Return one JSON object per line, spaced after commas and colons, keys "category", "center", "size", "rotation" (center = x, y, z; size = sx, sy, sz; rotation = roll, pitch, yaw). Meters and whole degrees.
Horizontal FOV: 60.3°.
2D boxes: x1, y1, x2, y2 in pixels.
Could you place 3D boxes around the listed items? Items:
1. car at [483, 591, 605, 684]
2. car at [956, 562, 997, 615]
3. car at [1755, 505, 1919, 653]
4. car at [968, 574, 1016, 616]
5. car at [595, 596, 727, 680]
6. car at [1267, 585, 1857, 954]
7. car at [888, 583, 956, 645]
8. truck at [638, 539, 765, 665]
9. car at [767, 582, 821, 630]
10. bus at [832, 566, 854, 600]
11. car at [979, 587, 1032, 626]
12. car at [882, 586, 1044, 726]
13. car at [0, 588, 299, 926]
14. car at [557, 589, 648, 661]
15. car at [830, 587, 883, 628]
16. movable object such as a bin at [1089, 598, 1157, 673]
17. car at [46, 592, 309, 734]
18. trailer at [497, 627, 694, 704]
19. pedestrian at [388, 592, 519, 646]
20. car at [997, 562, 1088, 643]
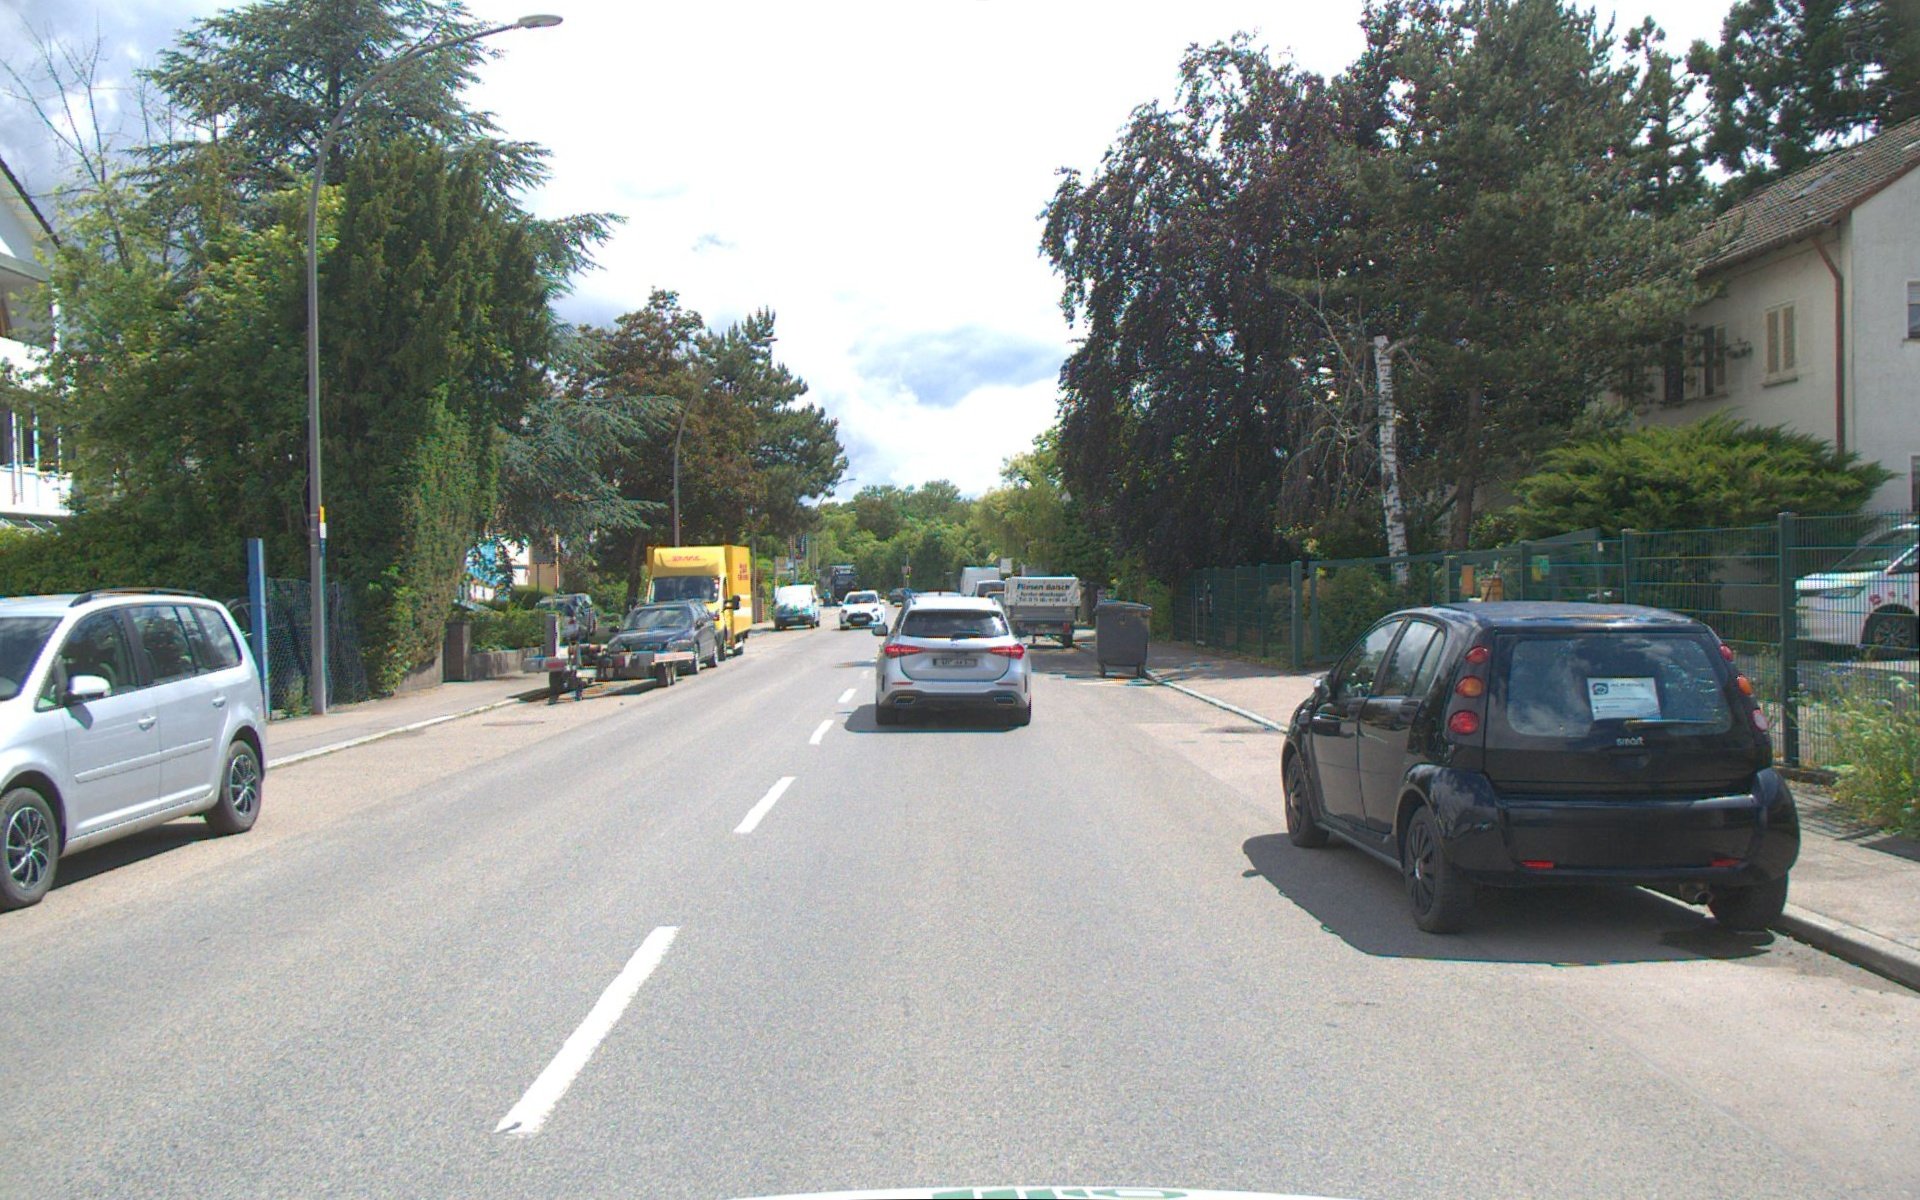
{"category": "car", "center": [-9.851, 0.846, 39.499], "size": [1.953, 2.049, 3.999], "rotation": [1, 1, -2]}
{"category": "car", "center": [0.797, -0.559, 82.599], "size": [1.749, 2.562, 4.314], "rotation": [0, 0, -3]}
{"category": "car", "center": [14.382, -0.388, 23.728], "size": [4.913, 1.962, 2.001], "rotation": [-3, 0, 2]}
{"category": "car", "center": [1.321, -0.188, 70.369], "size": [1.749, 1.745, 4.314], "rotation": [0, 0, -3]}
{"category": "car", "center": [-6.094, 0.731, 34.250], "size": [2.033, 1.503, 4.455], "rotation": [-2, 1, -2]}
{"category": "car", "center": [2.847, 0.685, 8.754], "size": [1.655, 1.476, 3.848], "rotation": [-2, 0, -1]}
{"category": "car", "center": [-1.058, 0.338, 44.526], "size": [1.720, 1.585, 3.998], "rotation": [-1, 1, -2]}
{"category": "truck", "center": [-6.453, 0.001, 42.148], "size": [2.032, 2.863, 7.078], "rotation": [-2, 1, 0]}
{"category": "car", "center": [-7.128, 0.225, 71.376], "size": [1.895, 1.952, 4.362], "rotation": [-2, 1, -1]}
{"category": "bus", "center": [-12.007, -1.738, 169.334], "size": [1.955, 3.423, 6.973], "rotation": [1, 1, -6]}
{"category": "car", "center": [1.747, 0.256, 65.238], "size": [1.749, 1.510, 4.314], "rotation": [0, 0, -3]}
{"category": "car", "center": [-0.068, 0.611, 20.118], "size": [1.749, 1.510, 4.314], "rotation": [0, 0, -3]}
{"category": "car", "center": [-5.616, 0.786, 9.695], "size": [1.755, 1.631, 4.362], "rotation": [-2, 1, -1]}
{"category": "car", "center": [-10.848, 0.719, 50.491], "size": [1.953, 2.049, 3.999], "rotation": [1, 1, -1]}
{"category": "car", "center": [-4.164, 0.287, 67.127], "size": [1.895, 1.518, 4.362], "rotation": [-2, 1, -1]}
{"category": "movable object such as a bin", "center": [2.914, 0.622, 29.697], "size": [1.062, 1.293, 1.380], "rotation": [1, 1, -1]}
{"category": "car", "center": [-10.634, 0.781, 22.831], "size": [1.955, 1.686, 3.996], "rotation": [-2, 1, -5]}
{"category": "trailer", "center": [-5.870, 1.016, 27.451], "size": [2.183, 0.941, 5.945], "rotation": [-1, 1, -2]}
{"category": "pedestrian", "center": [-17.235, 0.629, 56.424], "size": [3.910, 1.735, 1.998], "rotation": [1, 0, -6]}
{"category": "car", "center": [2.192, 0.044, 45.133], "size": [2.101, 2.018, 5.260], "rotation": [-2, 0, -1]}
